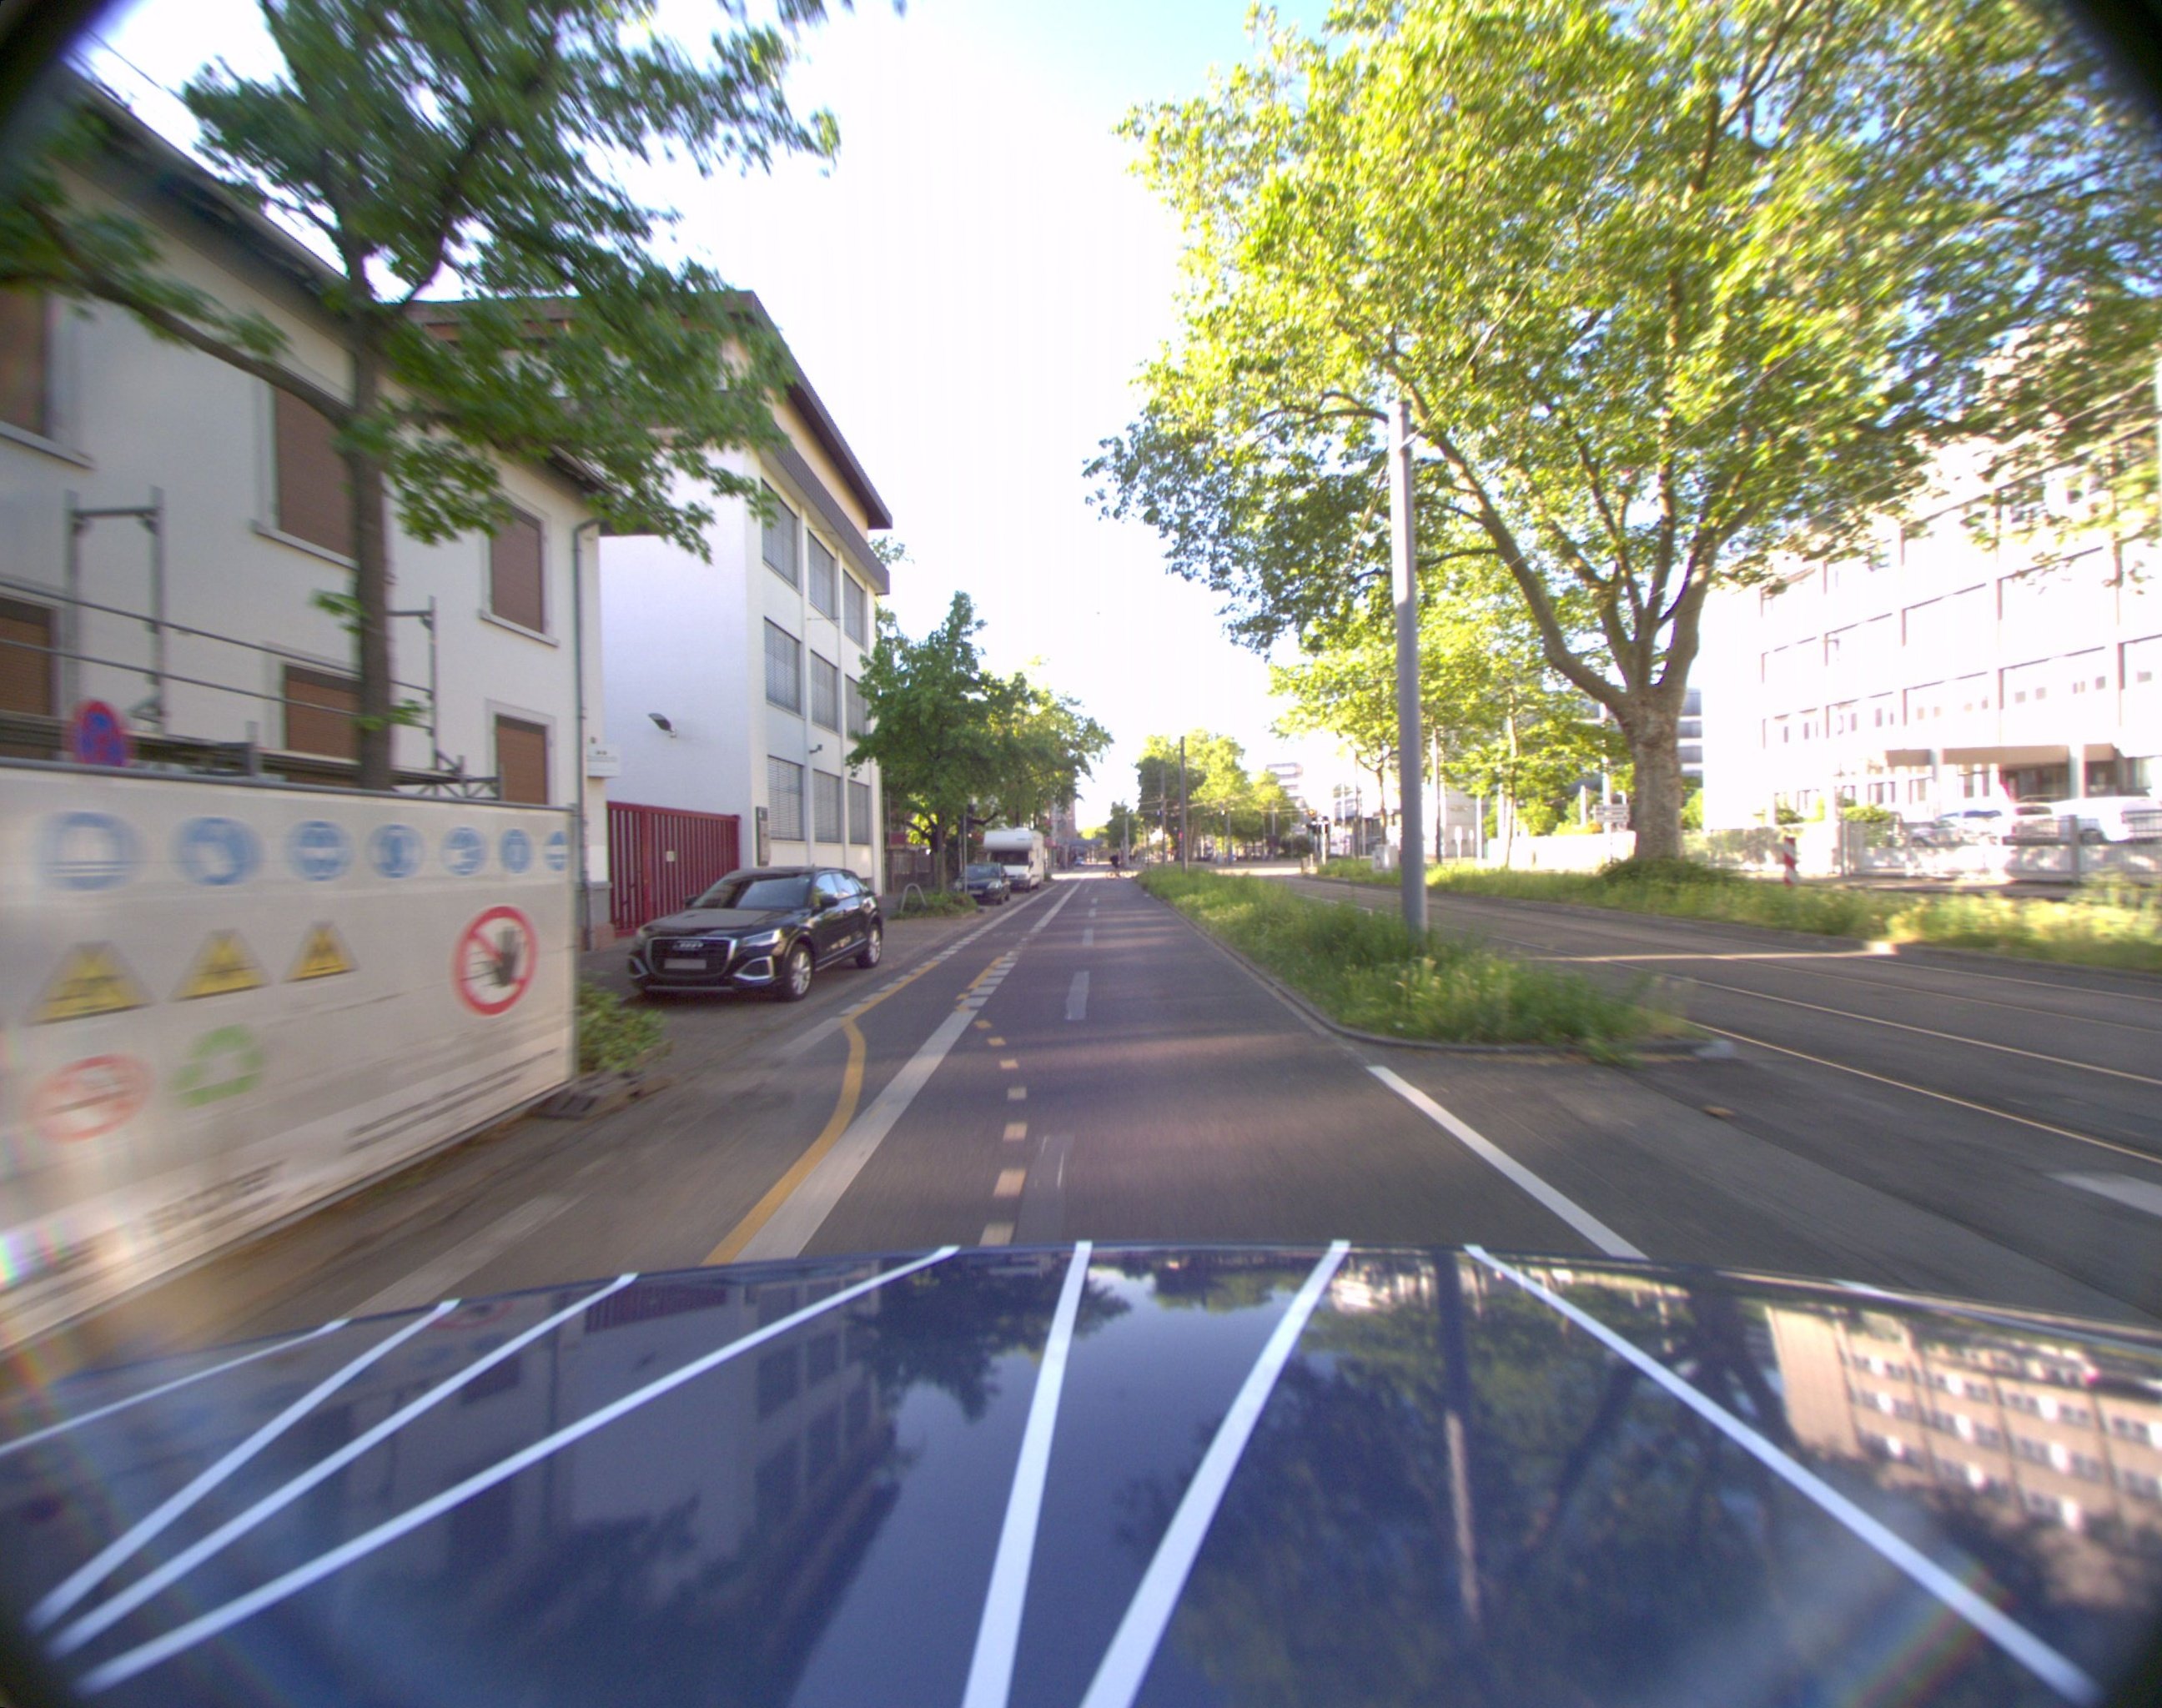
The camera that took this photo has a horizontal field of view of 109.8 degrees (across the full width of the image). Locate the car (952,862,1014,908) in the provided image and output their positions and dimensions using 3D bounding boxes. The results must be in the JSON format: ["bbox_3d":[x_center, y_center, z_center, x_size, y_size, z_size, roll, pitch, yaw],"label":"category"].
[{"bbox_3d":[-3.396,1.031,26.849,1.656,1.439,3.801,0,0,1],"label":"car"}]

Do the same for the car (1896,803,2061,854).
[{"bbox_3d":[35.104,-0.964,29.901,1.852,1.807,4.000,-2,1,2],"label":"car"}]

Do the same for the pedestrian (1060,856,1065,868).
[{"bbox_3d":[-2.790,1.258,113.882,0.621,1.771,0.686,-2,1,2],"label":"pedestrian"}]

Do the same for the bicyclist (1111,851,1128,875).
[{"bbox_3d":[2.506,0.575,49.425,1.007,1.567,0.760,-2,1,3],"label":"bicyclist"}]

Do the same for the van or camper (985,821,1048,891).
[{"bbox_3d":[-3.018,0.083,37.195,2.172,3.074,7.290,0,0,2],"label":"van or camper"}]

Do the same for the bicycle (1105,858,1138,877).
[{"bbox_3d":[2.623,0.888,49.425,2.082,1.122,0.760,-2,1,3],"label":"bicycle"}]

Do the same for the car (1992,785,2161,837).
[{"bbox_3d":[38.071,-1.592,29.019,1.852,1.742,4.000,-2,1,2],"label":"car"}]

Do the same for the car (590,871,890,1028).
[{"bbox_3d":[-3.996,1.019,9.787,1.767,1.475,4.110,0,0,4],"label":"car"}]
